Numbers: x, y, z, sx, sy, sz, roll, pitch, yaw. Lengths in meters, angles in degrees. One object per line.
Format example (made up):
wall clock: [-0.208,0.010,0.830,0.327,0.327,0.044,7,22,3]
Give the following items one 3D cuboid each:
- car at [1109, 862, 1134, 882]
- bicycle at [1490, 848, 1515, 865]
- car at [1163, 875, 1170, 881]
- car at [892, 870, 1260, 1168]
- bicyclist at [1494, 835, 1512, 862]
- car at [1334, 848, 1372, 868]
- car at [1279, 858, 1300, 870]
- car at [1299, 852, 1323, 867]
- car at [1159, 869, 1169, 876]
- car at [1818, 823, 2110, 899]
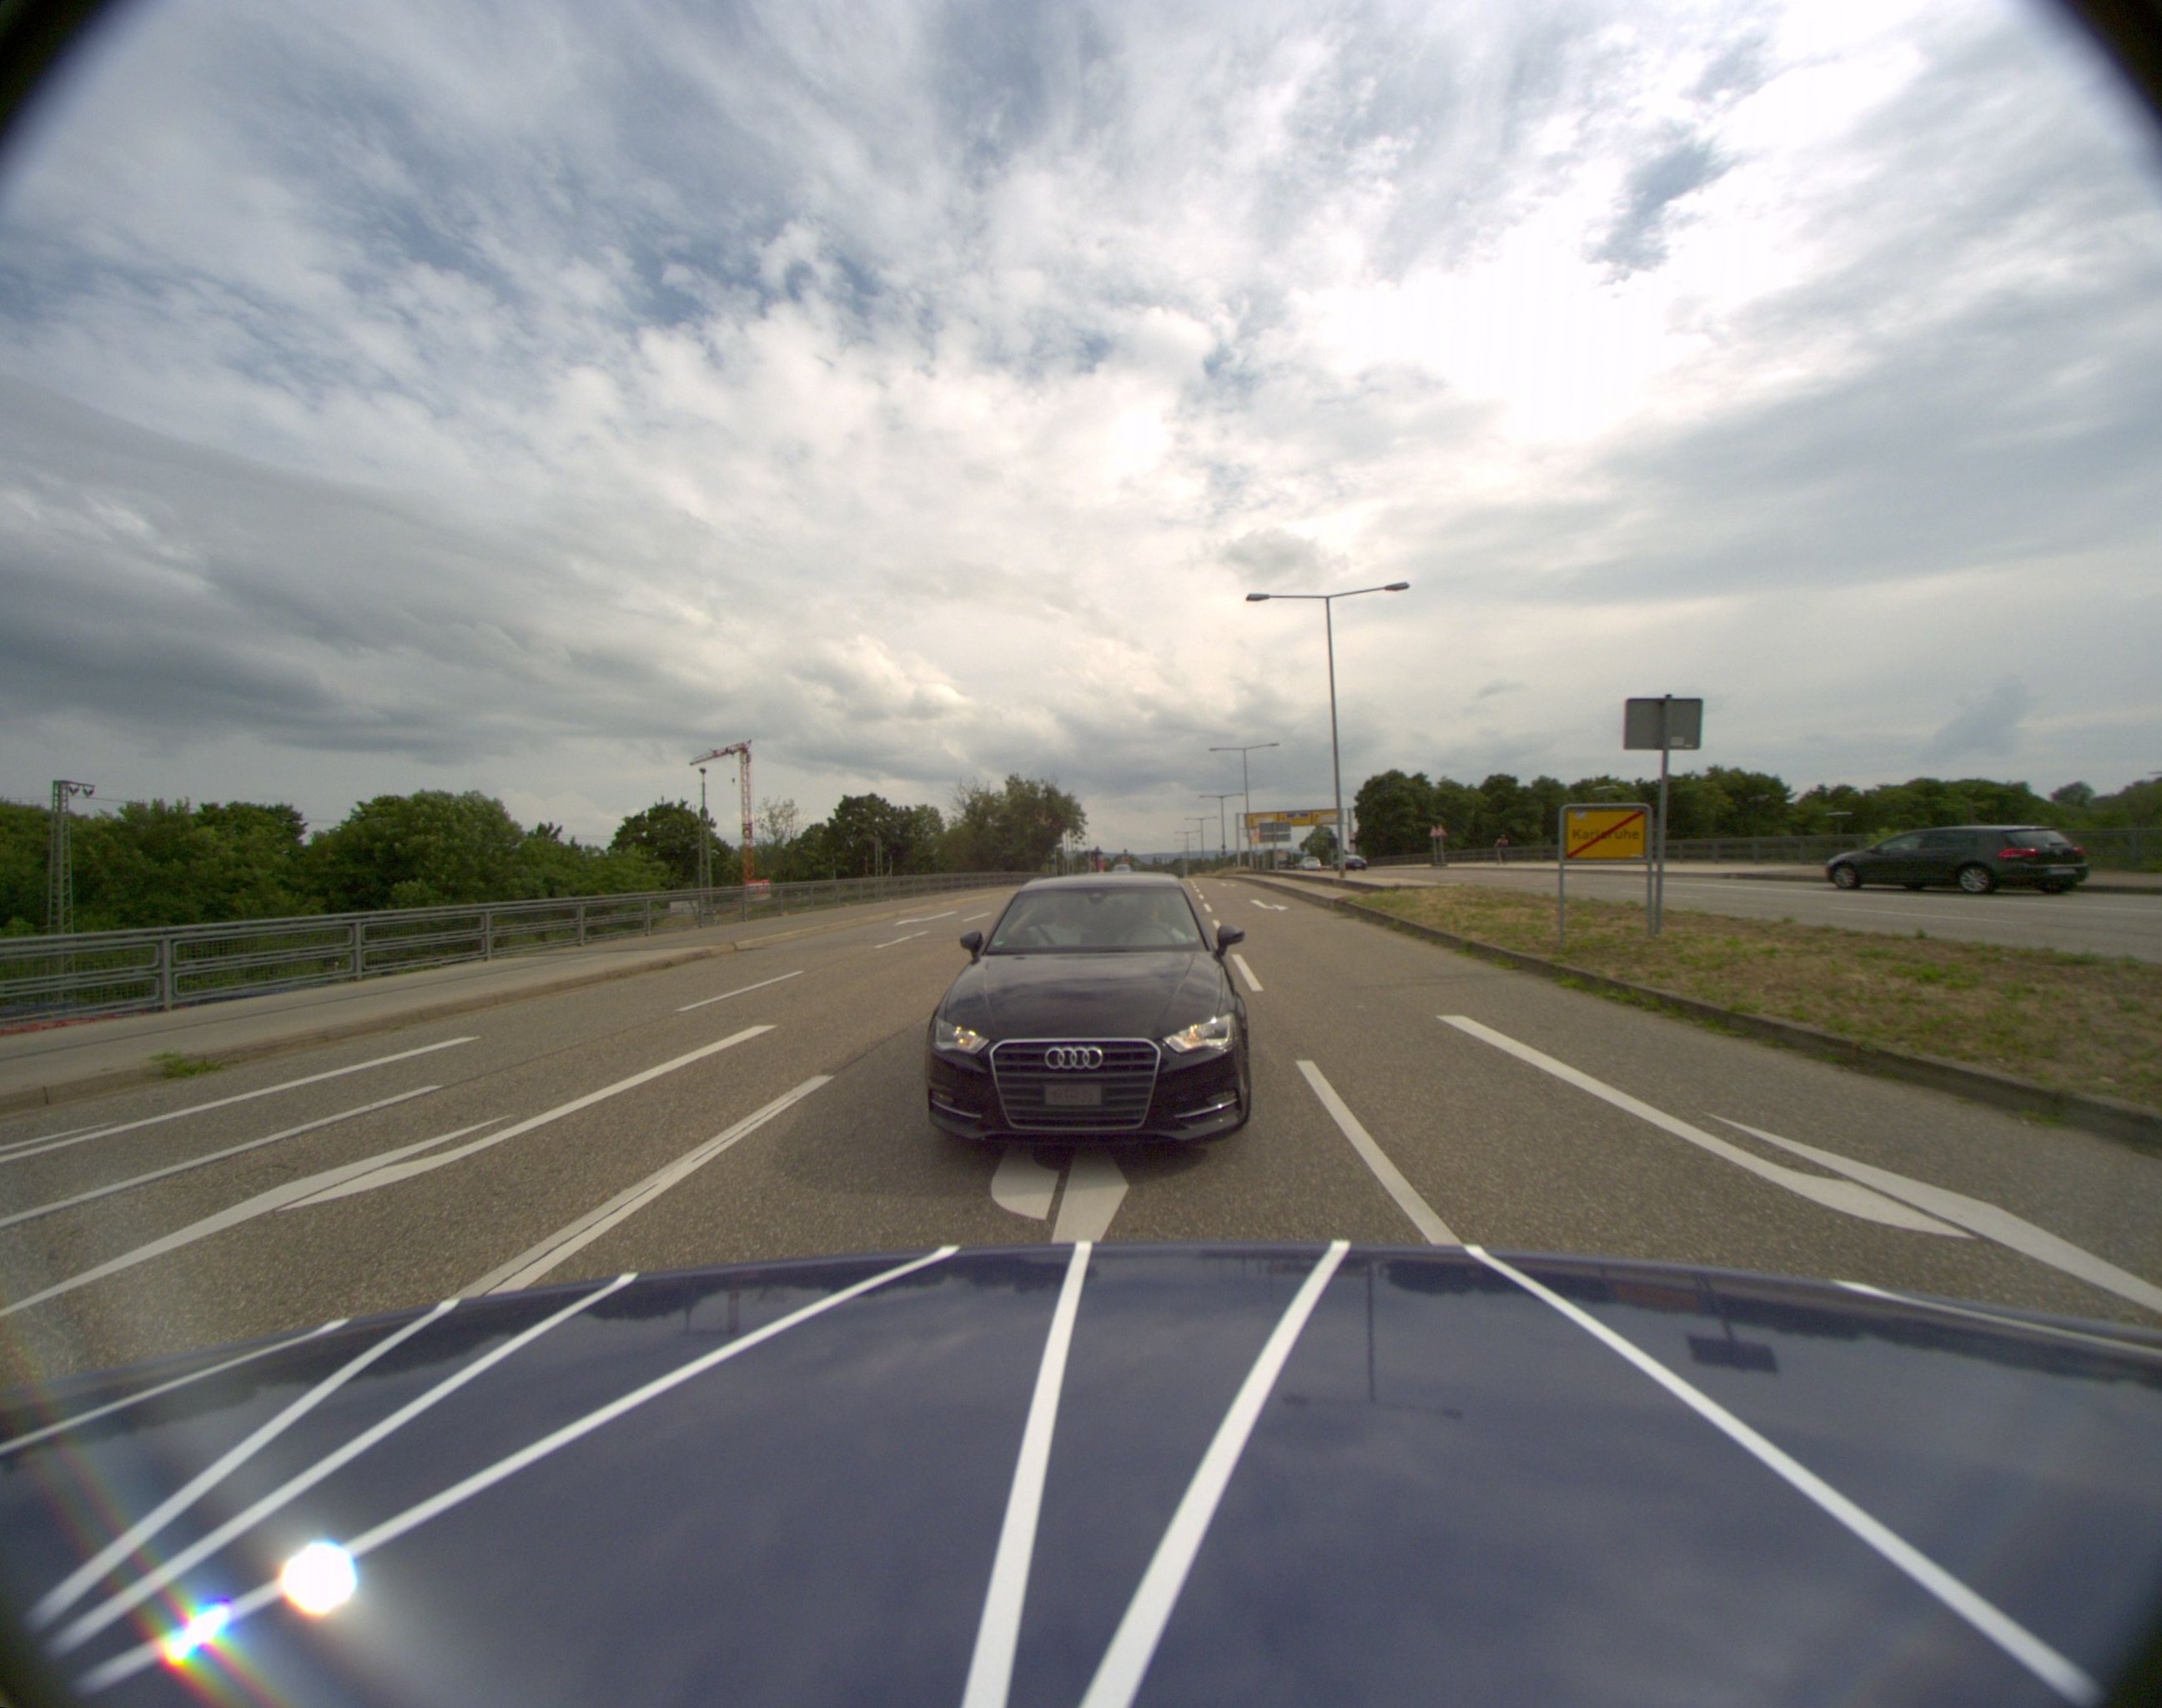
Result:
car: [3.545,1.532,65.649,1.724,1.512,3.952,-4,0,9]
bicycle: [26.503,0.141,47.799,0.685,1.047,1.996,-3,0,10]
car: [23.186,6.487,206.734,1.860,1.335,4.002,-2,0,7]
car: [0.229,0.908,6.248,1.851,1.355,4.731,-2,0,7]
bicyclist: [26.486,-0.359,47.747,0.685,1.662,0.848,-3,0,10]
car: [21.925,0.308,61.422,1.825,1.438,4.354,-2,0,5]
car: [24.606,1.171,89.708,1.745,1.402,3.878,-1,0,5]
car: [22.744,0.494,75.209,1.619,1.402,3.862,-1,0,6]
car: [17.368,3.833,158.917,1.860,1.335,4.002,-2,0,7]
car: [19.271,0.141,16.911,1.797,1.410,4.000,-2,0,0]
